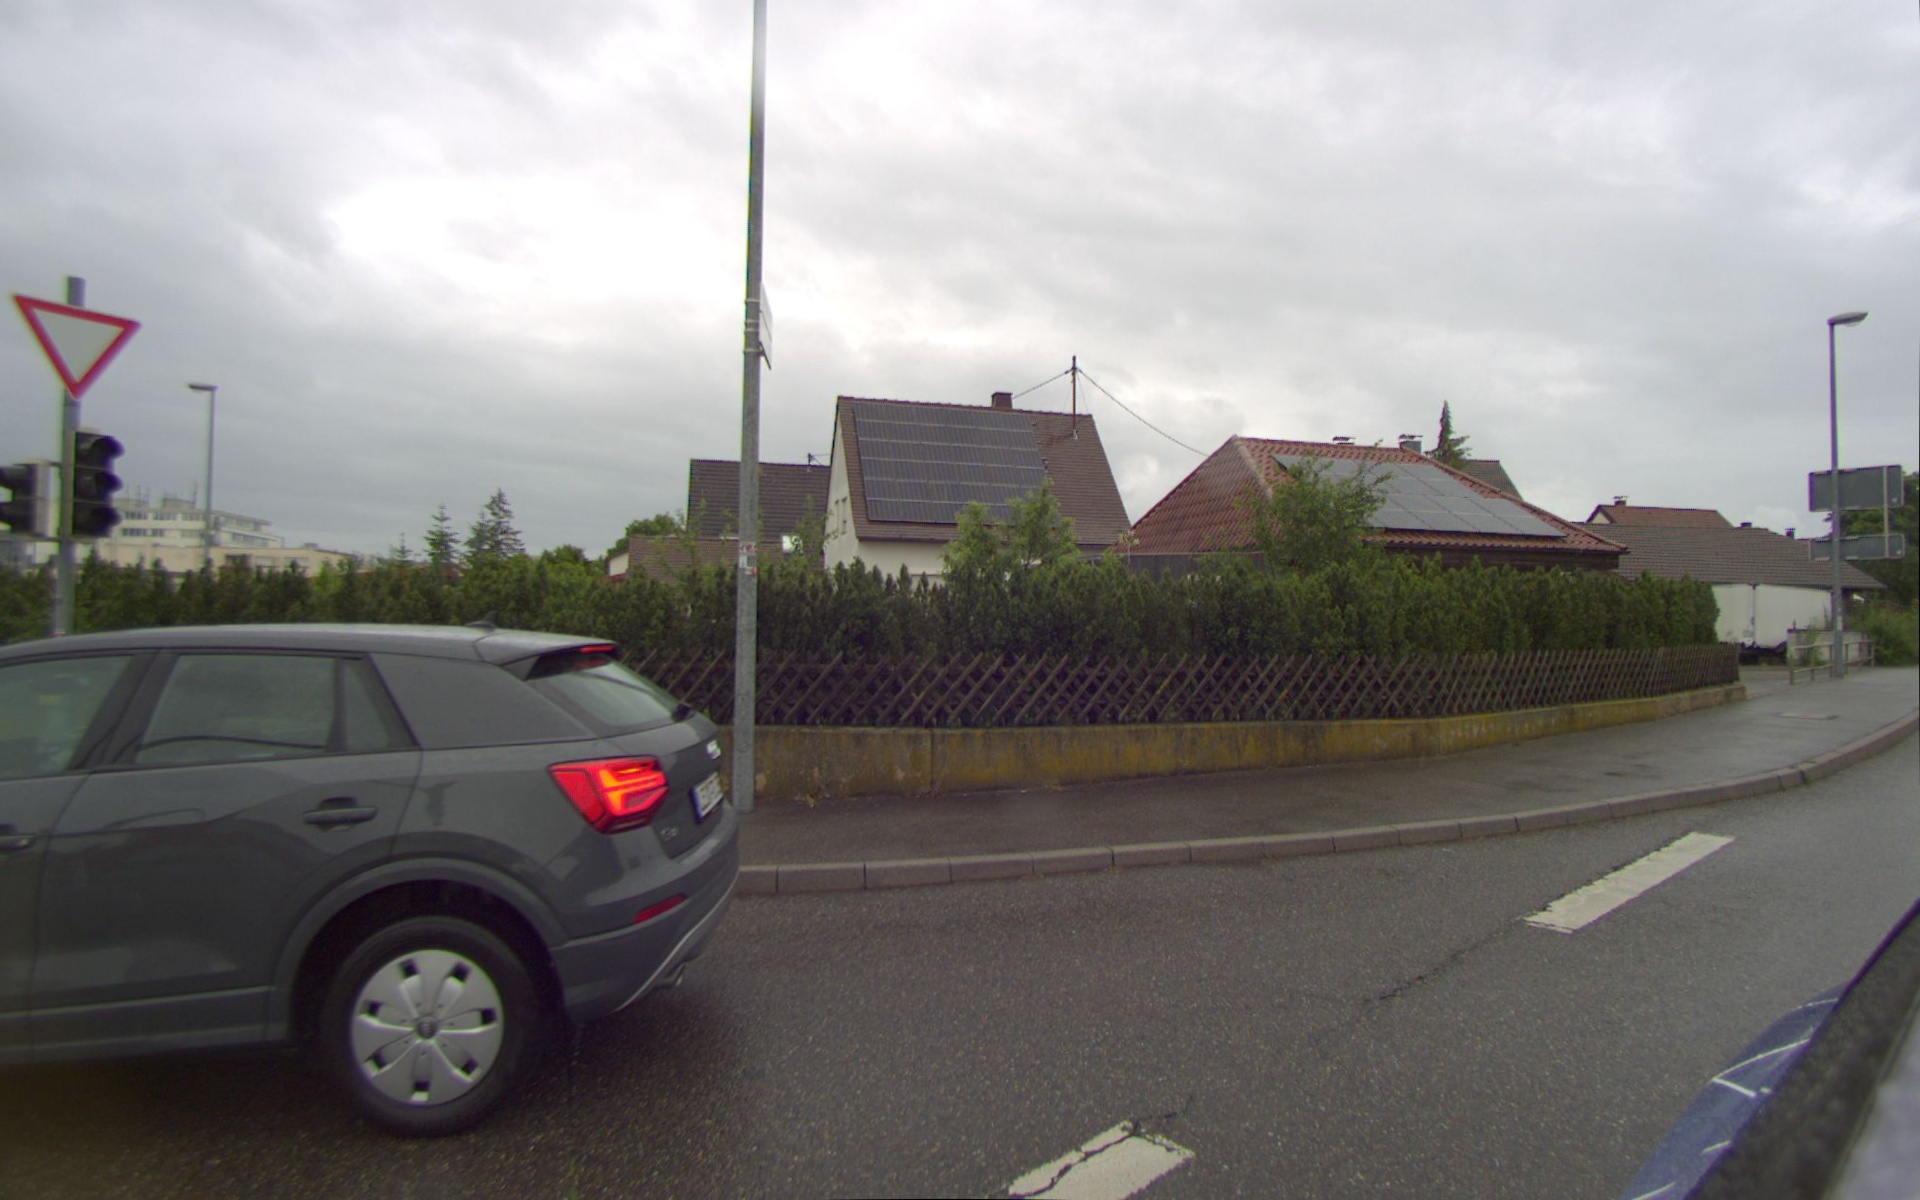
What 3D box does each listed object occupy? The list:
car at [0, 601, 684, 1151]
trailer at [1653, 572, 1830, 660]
[{"bbox_3d":[-3.102,0.767,3.608,3.860,1.514,1.690,0,-1,-5],"label":"car"},{"bbox_3d":[23.700,0.491,30.730,4.605,2.550,1.652,0,-2,-13],"label":"trailer"}]
